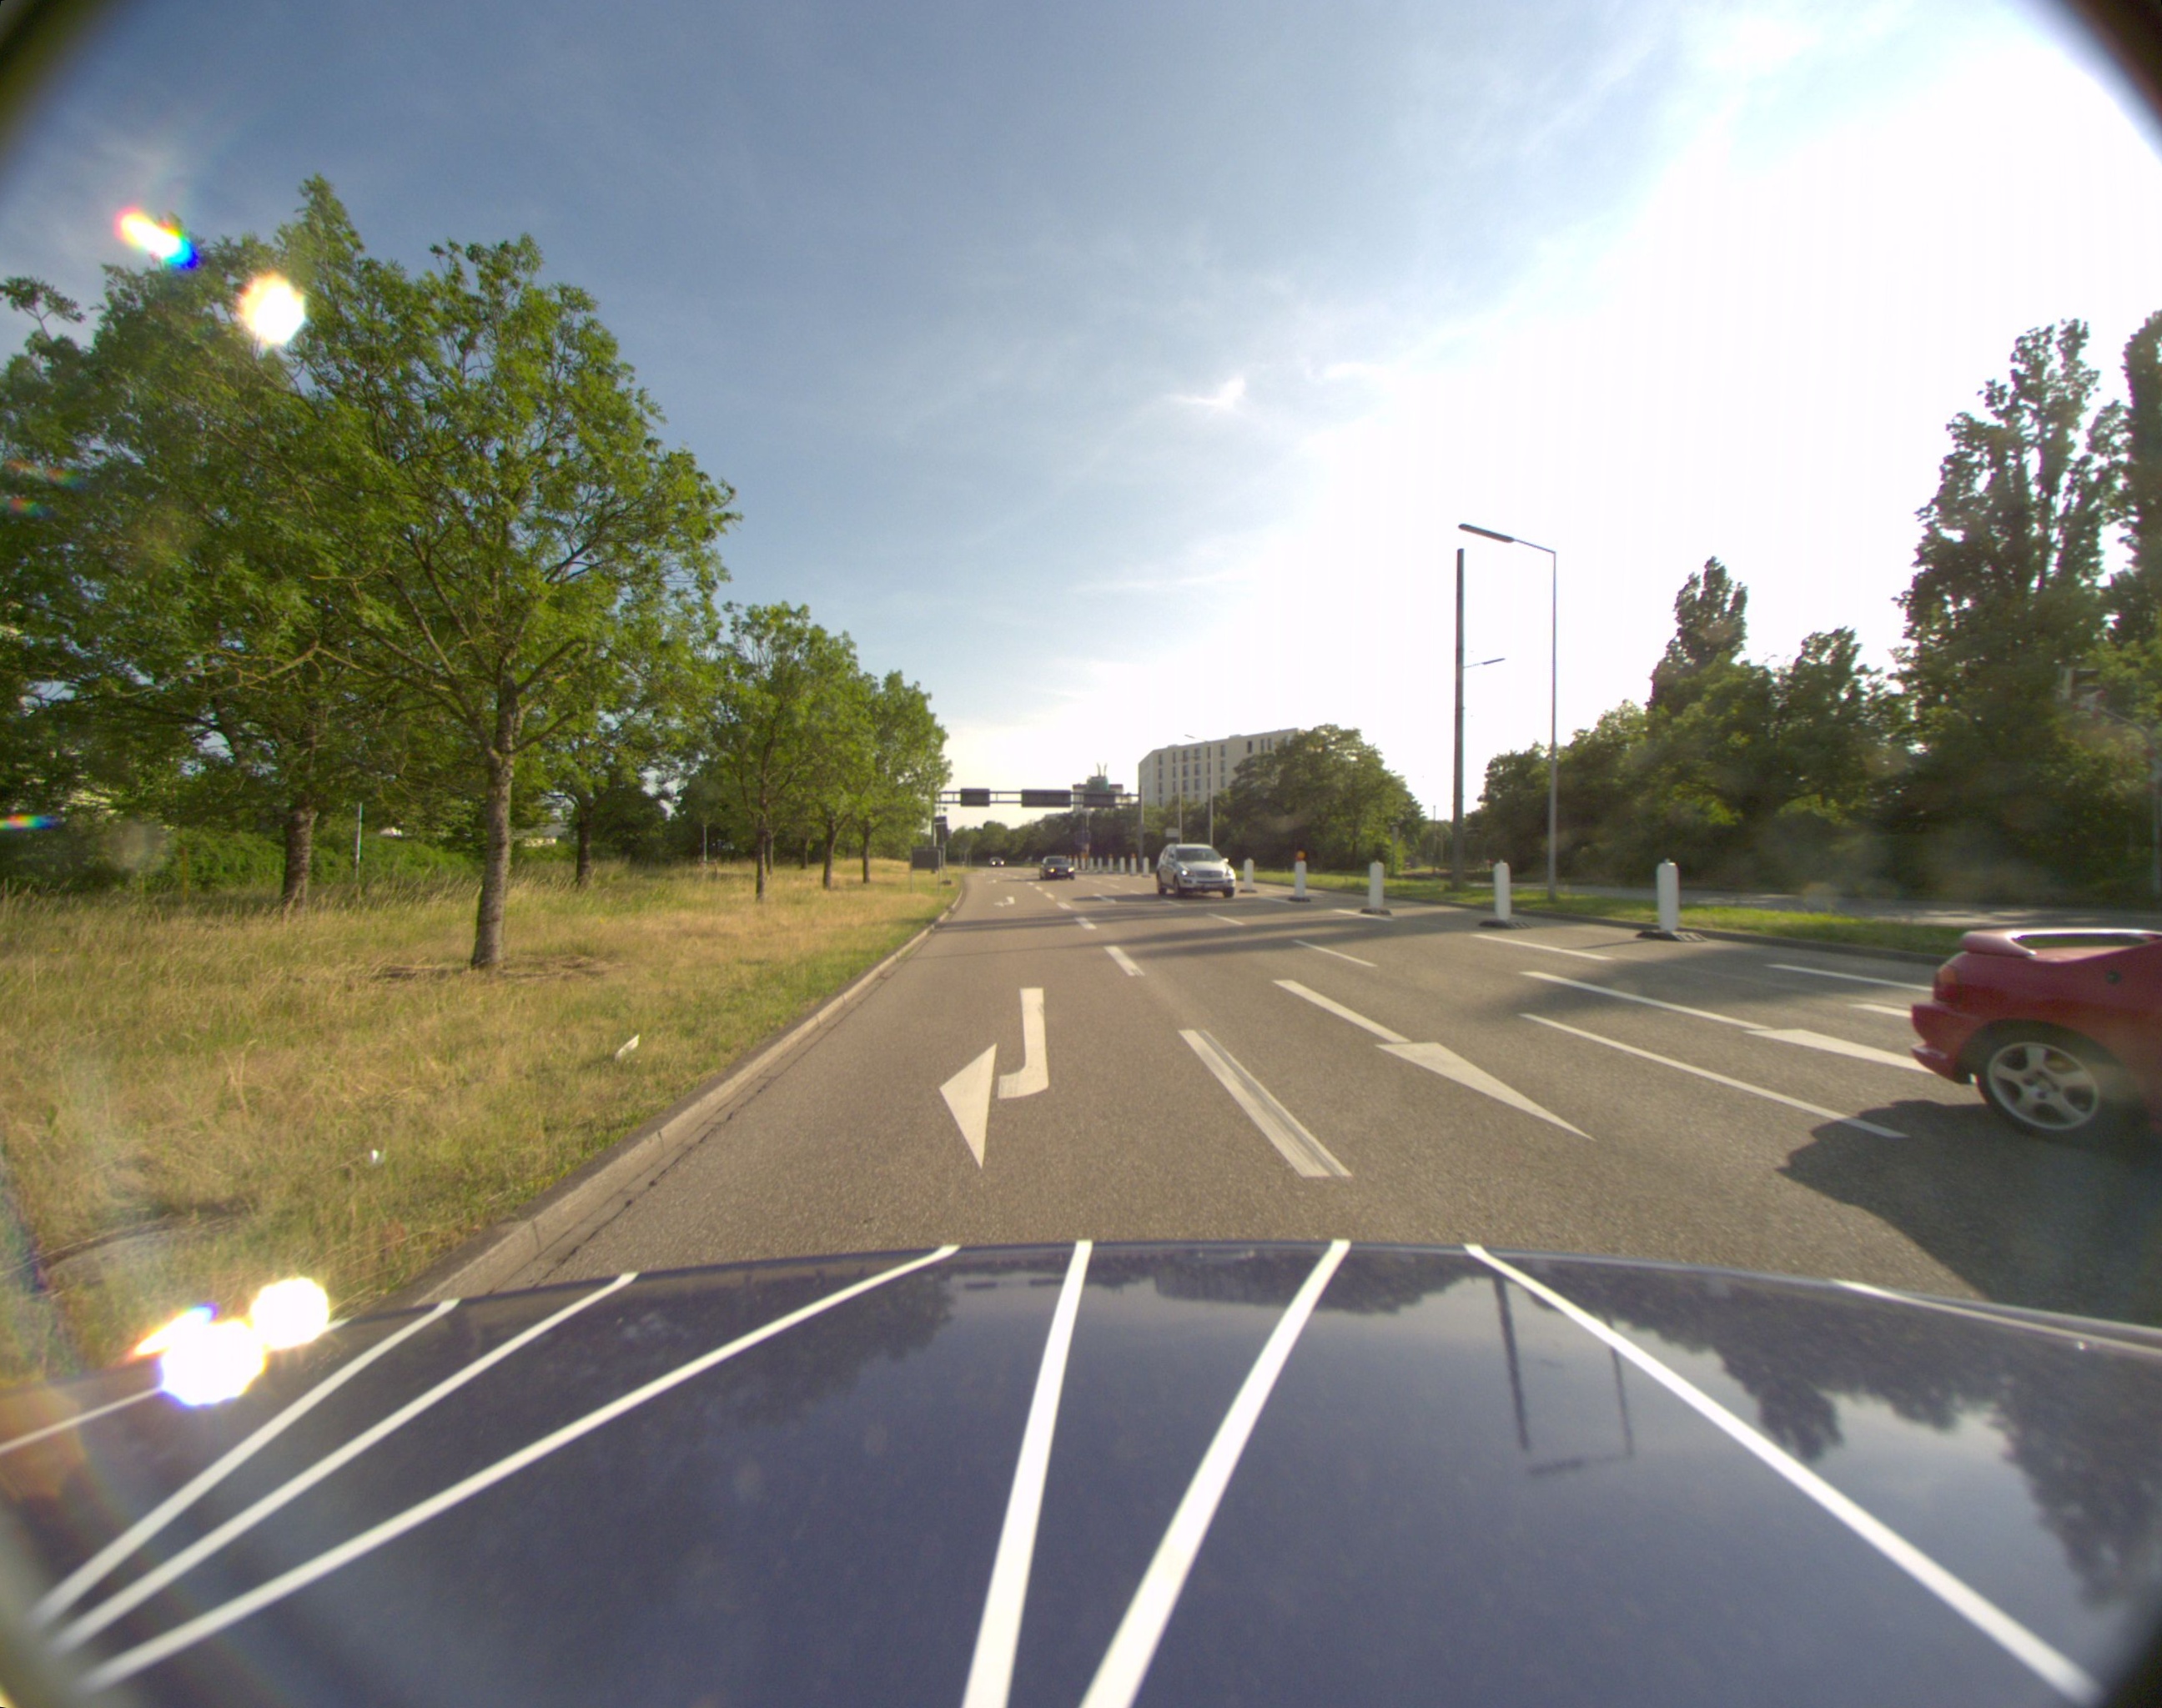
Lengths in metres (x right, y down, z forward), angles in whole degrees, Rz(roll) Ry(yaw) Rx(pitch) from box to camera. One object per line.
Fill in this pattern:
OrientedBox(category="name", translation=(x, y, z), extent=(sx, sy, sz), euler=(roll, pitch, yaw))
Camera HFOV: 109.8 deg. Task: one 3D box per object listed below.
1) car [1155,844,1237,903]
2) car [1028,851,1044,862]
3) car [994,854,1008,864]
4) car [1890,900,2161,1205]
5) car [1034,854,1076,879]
OrientedBox(category="car", translation=(3.855, 0.622, 26.217), extent=(1.901, 1.813, 4.354), euler=(-2, 0, -3))
OrientedBox(category="car", translation=(-8.726, 0.452, 147.032), extent=(2.001, 2.002, 5.350), euler=(0, 0, -16))
OrientedBox(category="car", translation=(-12.111, 0.796, 115.195), extent=(1.896, 1.447, 3.906), euler=(0, 0, -8))
OrientedBox(category="car", translation=(5.564, 0.896, 2.450), extent=(1.736, 1.199, 3.846), euler=(-2, 0, -2))
OrientedBox(category="car", translation=(-1.642, 0.740, 46.135), extent=(1.903, 1.377, 4.352), euler=(-2, 0, -10))
